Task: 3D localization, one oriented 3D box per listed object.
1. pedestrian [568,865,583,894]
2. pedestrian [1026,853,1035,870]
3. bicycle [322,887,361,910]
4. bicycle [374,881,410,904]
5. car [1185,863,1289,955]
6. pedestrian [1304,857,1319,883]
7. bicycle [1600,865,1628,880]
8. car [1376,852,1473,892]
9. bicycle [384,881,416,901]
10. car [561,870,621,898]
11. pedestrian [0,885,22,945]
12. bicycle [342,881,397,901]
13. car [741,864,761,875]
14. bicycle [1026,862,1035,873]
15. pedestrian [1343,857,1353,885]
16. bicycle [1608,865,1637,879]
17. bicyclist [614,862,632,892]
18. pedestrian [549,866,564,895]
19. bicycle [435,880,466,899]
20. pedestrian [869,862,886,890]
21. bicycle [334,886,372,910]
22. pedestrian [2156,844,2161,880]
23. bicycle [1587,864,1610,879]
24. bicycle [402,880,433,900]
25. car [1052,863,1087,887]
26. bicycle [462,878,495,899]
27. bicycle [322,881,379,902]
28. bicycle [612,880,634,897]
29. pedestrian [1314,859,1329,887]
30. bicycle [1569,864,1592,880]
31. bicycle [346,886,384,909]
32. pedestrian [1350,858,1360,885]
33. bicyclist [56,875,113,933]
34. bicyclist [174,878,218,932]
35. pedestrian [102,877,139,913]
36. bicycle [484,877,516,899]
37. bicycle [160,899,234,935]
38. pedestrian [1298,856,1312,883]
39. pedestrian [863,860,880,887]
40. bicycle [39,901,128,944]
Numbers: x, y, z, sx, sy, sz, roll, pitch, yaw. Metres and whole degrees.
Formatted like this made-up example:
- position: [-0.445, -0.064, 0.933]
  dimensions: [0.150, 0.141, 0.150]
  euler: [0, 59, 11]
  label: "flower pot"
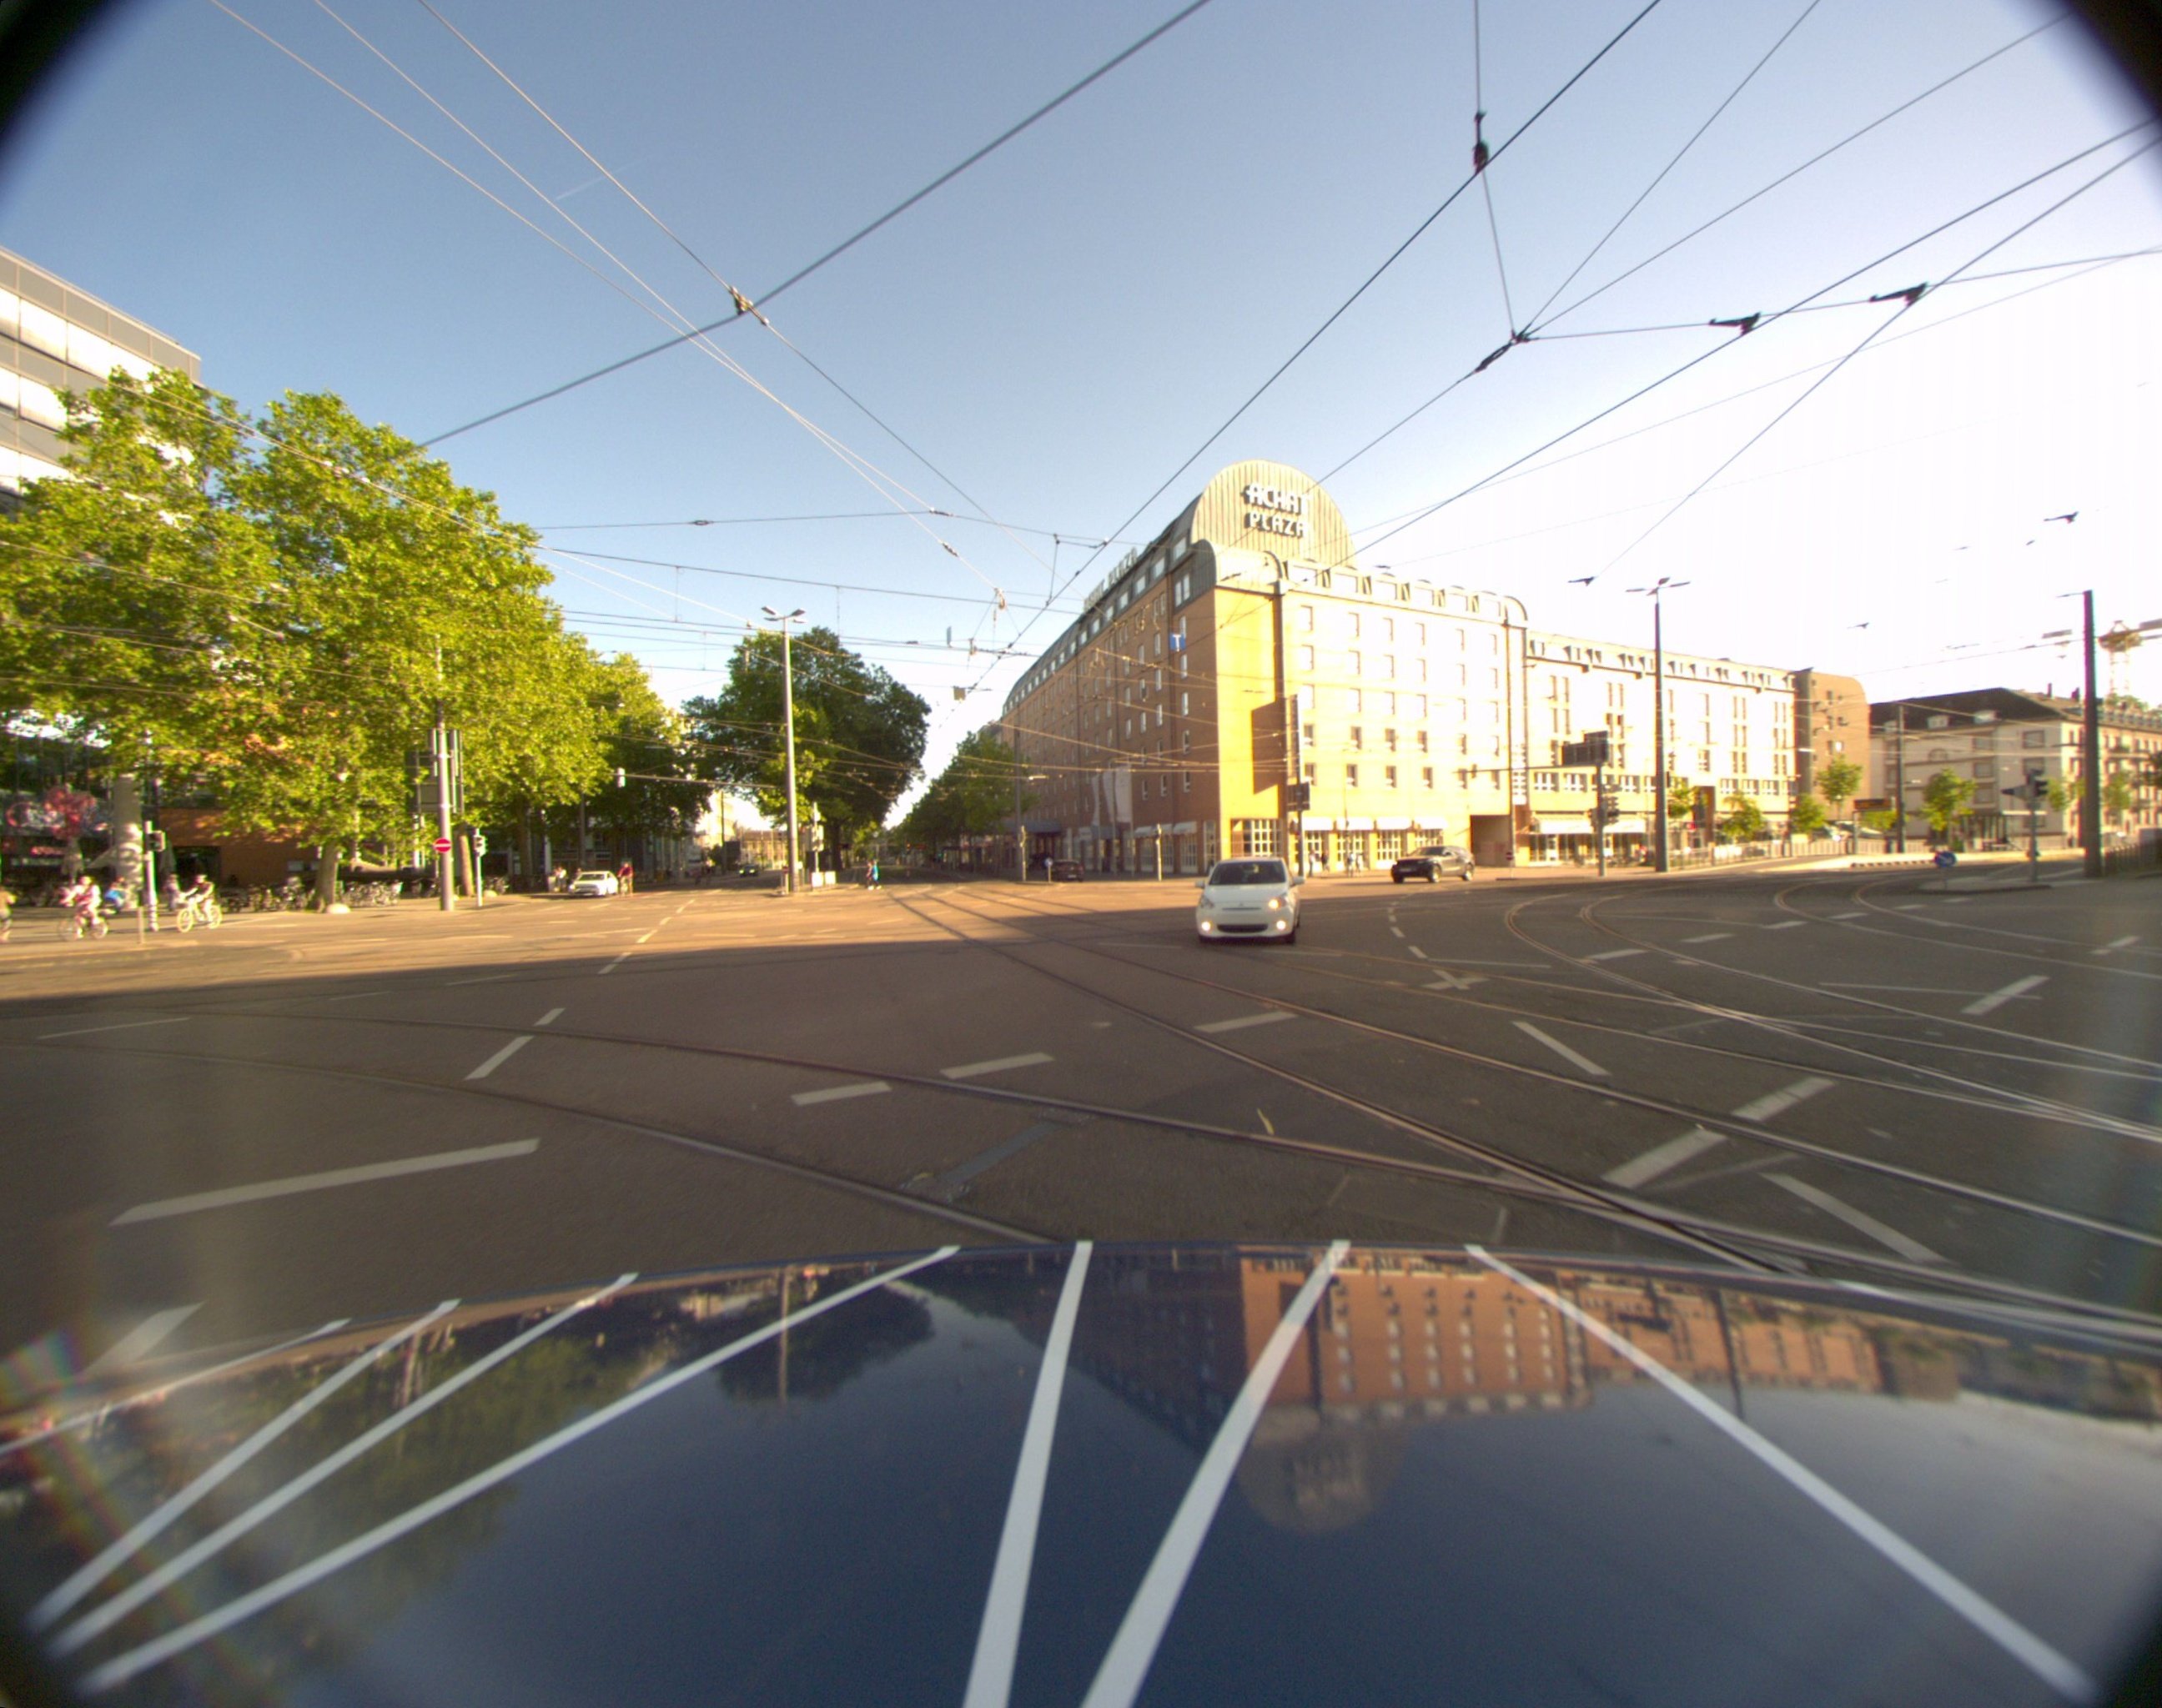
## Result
- position: [-31.384, 1.558, 47.192]
  dimensions: [0.643, 1.765, 0.616]
  euler: [-1, 0, -25]
  label: "pedestrian"
- position: [-4.726, 0.700, 71.341]
  dimensions: [0.772, 1.584, 0.838]
  euler: [-2, -1, -4]
  label: "pedestrian"
- position: [-33.237, 1.982, 34.184]
  dimensions: [0.391, 0.980, 1.709]
  euler: [0, -1, -11]
  label: "bicycle"
- position: [-31.328, 1.751, 34.570]
  dimensions: [0.391, 0.980, 1.709]
  euler: [0, -1, -11]
  label: "bicycle"
- position: [3.047, 0.931, 14.388]
  dimensions: [1.638, 1.457, 4.192]
  euler: [-1, -1, 14]
  label: "car"
- position: [15.140, 1.065, 49.896]
  dimensions: [0.660, 1.693, 0.562]
  euler: [-1, -1, -29]
  label: "pedestrian"
- position: [42.551, 1.445, 60.648]
  dimensions: [0.554, 1.135, 1.772]
  euler: [-2, 1, -22]
  label: "bicycle"
- position: [15.351, 0.809, 33.931]
  dimensions: [4.363, 1.651, 1.952]
  euler: [0, -2, -35]
  label: "car"
- position: [-39.036, 2.085, 43.548]
  dimensions: [2.924, 1.085, 0.880]
  euler: [-1, -1, 39]
  label: "bicycle"
- position: [-27.589, 1.687, 42.884]
  dimensions: [2.002, 1.477, 3.994]
  euler: [-1, -2, -20]
  label: "car"
- position: [-28.892, 1.620, 20.255]
  dimensions: [0.490, 1.572, 0.658]
  euler: [0, -1, -21]
  label: "pedestrian"
- position: [-39.492, 2.054, 42.163]
  dimensions: [2.926, 1.085, 0.879]
  euler: [0, -1, 17]
  label: "bicycle"
- position: [-44.547, 2.082, 102.613]
  dimensions: [1.902, 1.525, 3.995]
  euler: [-1, 0, -16]
  label: "car"
- position: [-4.710, 1.274, 71.351]
  dimensions: [0.792, 1.045, 1.923]
  euler: [-2, -2, -3]
  label: "bicycle"
- position: [17.388, 1.100, 49.526]
  dimensions: [0.497, 1.823, 0.734]
  euler: [0, 2, 30]
  label: "pedestrian"
- position: [43.643, 1.408, 61.218]
  dimensions: [0.738, 1.065, 1.772]
  euler: [-2, 1, -22]
  label: "bicycle"
- position: [-24.886, 1.264, 41.288]
  dimensions: [0.638, 1.605, 0.927]
  euler: [-1, -1, -21]
  label: "bicyclist"
- position: [-32.308, 1.634, 46.824]
  dimensions: [0.643, 1.765, 0.616]
  euler: [-1, 0, -25]
  label: "pedestrian"
- position: [-37.936, 2.113, 45.709]
  dimensions: [2.924, 1.085, 0.880]
  euler: [-1, -1, 39]
  label: "bicycle"
- position: [-11.545, 1.251, 43.159]
  dimensions: [0.743, 1.530, 0.675]
  euler: [-1, -2, -32]
  label: "pedestrian"
- position: [-32.796, 1.971, 34.251]
  dimensions: [0.391, 0.980, 1.709]
  euler: [0, -1, -11]
  label: "bicycle"
- position: [46.385, 0.319, 32.286]
  dimensions: [0.655, 1.525, 0.700]
  euler: [0, 0, -28]
  label: "pedestrian"
- position: [41.212, 1.393, 60.519]
  dimensions: [0.553, 1.142, 1.775]
  euler: [-2, 1, -4]
  label: "bicycle"
- position: [-39.134, 2.119, 44.785]
  dimensions: [2.924, 1.085, 0.880]
  euler: [-1, -1, 39]
  label: "bicycle"
- position: [-0.771, 1.327, 48.431]
  dimensions: [1.797, 1.457, 4.308]
  euler: [0, -1, -7]
  label: "car"
- position: [-35.837, 2.035, 45.186]
  dimensions: [2.924, 1.227, 0.880]
  euler: [-1, -1, 39]
  label: "bicycle"
- position: [-39.646, 2.029, 41.225]
  dimensions: [2.926, 1.085, 0.879]
  euler: [0, -1, 17]
  label: "bicycle"
- position: [-24.884, 1.859, 41.305]
  dimensions: [0.653, 0.905, 1.856]
  euler: [-1, -1, -20]
  label: "bicycle"
- position: [15.496, 1.233, 49.015]
  dimensions: [0.575, 1.757, 0.693]
  euler: [0, -2, -28]
  label: "pedestrian"
- position: [39.739, 1.434, 60.429]
  dimensions: [0.553, 1.142, 1.775]
  euler: [-2, 1, -4]
  label: "bicycle"
- position: [-32.308, 1.959, 34.298]
  dimensions: [0.391, 0.980, 1.709]
  euler: [0, -1, -11]
  label: "bicycle"
- position: [18.133, 1.145, 50.253]
  dimensions: [0.578, 1.764, 0.405]
  euler: [0, 1, 10]
  label: "pedestrian"
- position: [-26.990, 1.336, 20.585]
  dimensions: [0.570, 1.494, 0.744]
  euler: [-1, 0, -13]
  label: "bicyclist"
- position: [-28.200, 1.606, 24.220]
  dimensions: [0.570, 1.684, 0.744]
  euler: [-1, 0, -13]
  label: "bicyclist"
- position: [-41.304, 1.746, 32.672]
  dimensions: [0.563, 1.518, 0.778]
  euler: [-1, 0, 1]
  label: "pedestrian"
- position: [-35.209, 2.043, 46.020]
  dimensions: [2.924, 1.227, 0.880]
  euler: [-1, -1, 39]
  label: "bicycle"
- position: [-28.202, 1.982, 24.283]
  dimensions: [0.516, 1.015, 1.857]
  euler: [-1, 0, -13]
  label: "bicycle"
- position: [14.846, 1.037, 50.418]
  dimensions: [0.603, 1.716, 0.602]
  euler: [-1, -1, -29]
  label: "pedestrian"
- position: [-12.060, 1.146, 43.791]
  dimensions: [0.743, 1.530, 0.650]
  euler: [-1, -2, -32]
  label: "pedestrian"
- position: [-26.982, 1.831, 20.586]
  dimensions: [0.516, 1.015, 1.631]
  euler: [-1, 0, -13]
  label: "bicycle"
